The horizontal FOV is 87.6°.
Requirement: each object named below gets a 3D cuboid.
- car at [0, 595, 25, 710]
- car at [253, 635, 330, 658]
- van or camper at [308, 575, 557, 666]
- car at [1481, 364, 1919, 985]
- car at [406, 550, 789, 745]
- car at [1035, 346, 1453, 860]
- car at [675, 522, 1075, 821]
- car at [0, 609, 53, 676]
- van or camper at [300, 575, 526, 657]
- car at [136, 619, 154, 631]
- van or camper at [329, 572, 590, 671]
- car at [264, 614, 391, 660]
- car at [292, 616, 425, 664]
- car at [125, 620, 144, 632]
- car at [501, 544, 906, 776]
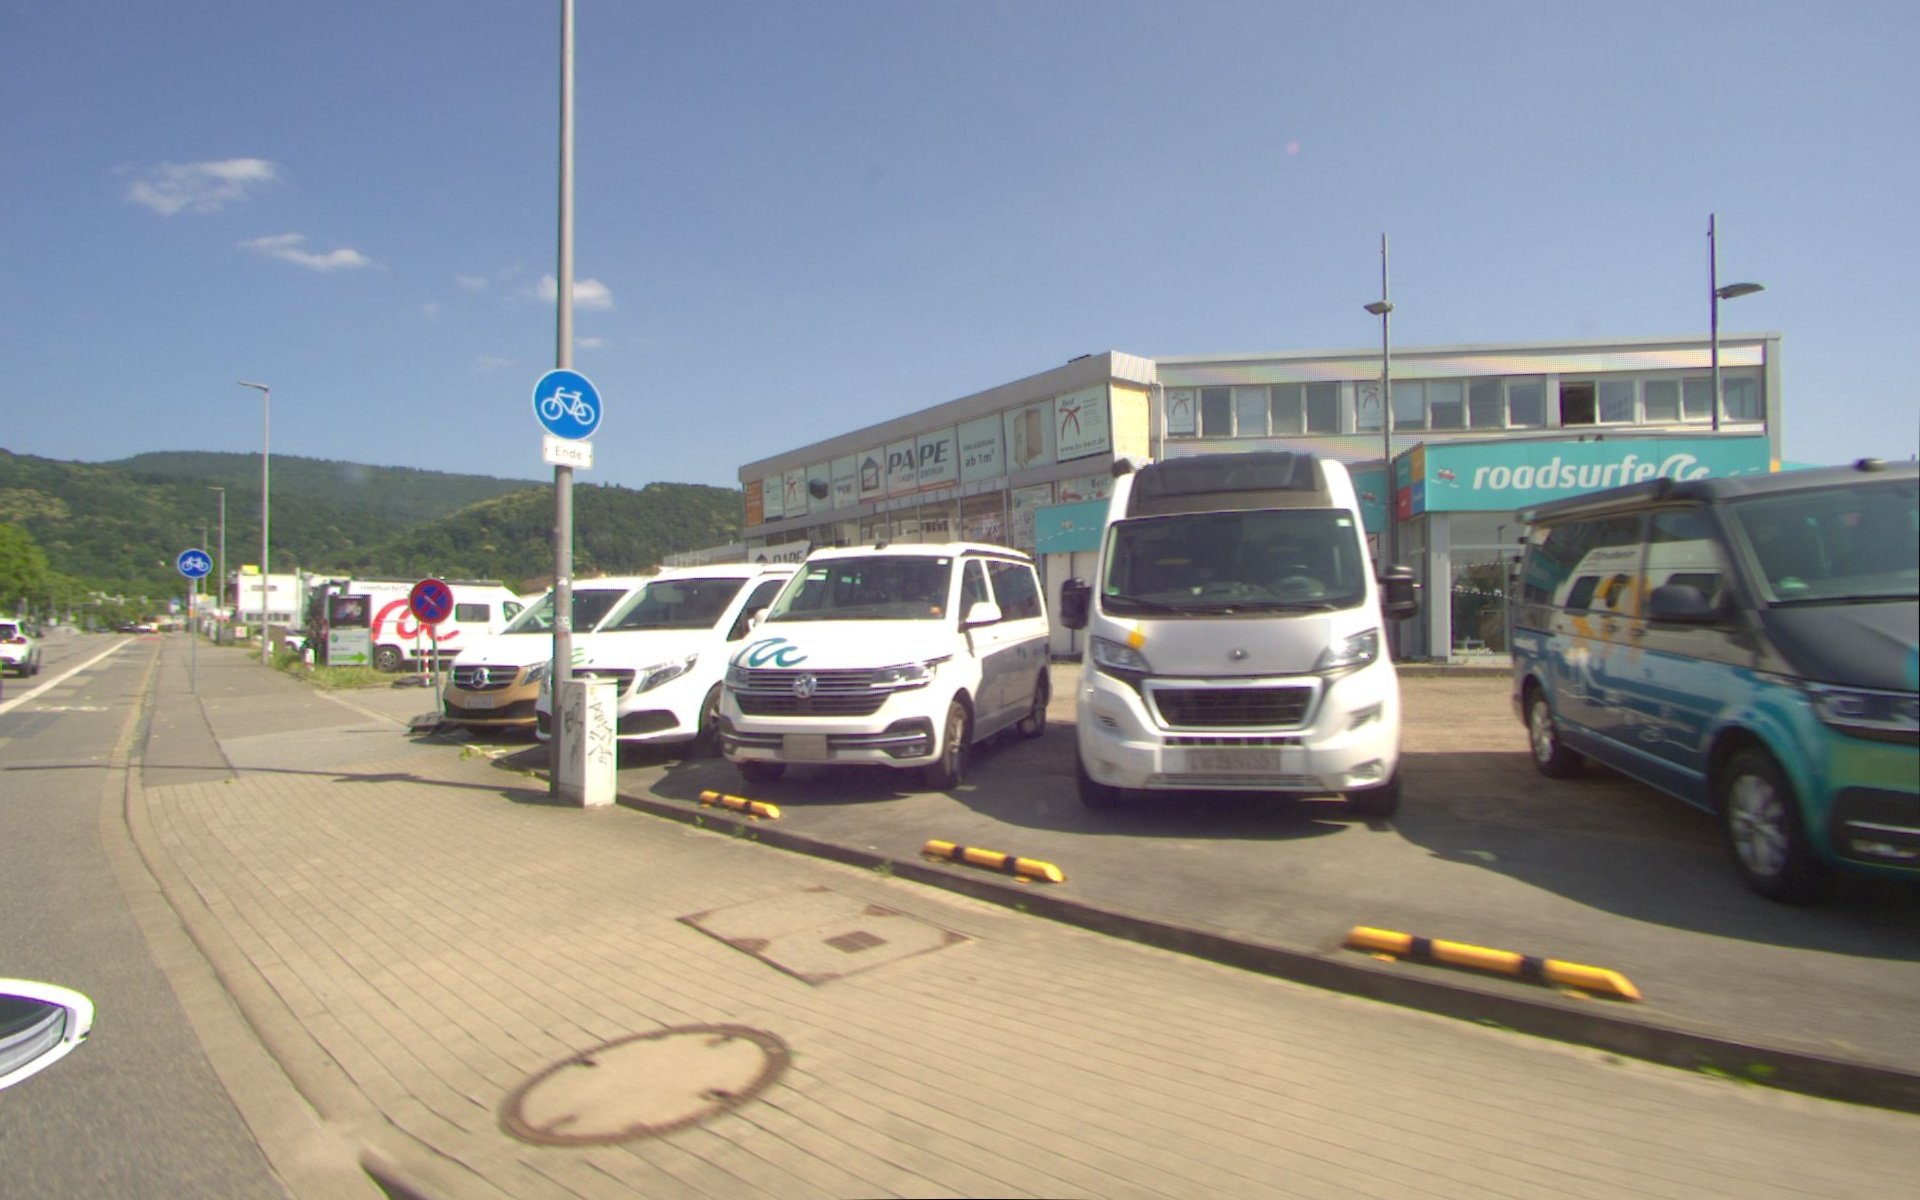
[{"bbox_3d":[-17.951,0.845,17.323,2.147,2.038,4.975,6,-4,-40],"label":"car"},{"bbox_3d":[-41.053,2.837,61.535,3.631,1.327,1.659,0,-1,2],"label":"car"},{"bbox_3d":[-16.815,0.704,32.051,6.549,2.594,3.724,2,-2,-37],"label":"van or camper"},{"bbox_3d":[4.867,0.197,5.751,2.058,2.141,5.221,-2,0,13],"label":"car"},{"bbox_3d":[-4.555,0.627,13.641,2.015,2.121,5.148,-2,-2,21],"label":"car"},{"bbox_3d":[2.345,0.080,8.640,2.264,2.752,6.151,0,-1,15],"label":"car"},{"bbox_3d":[-0.383,0.552,9.565,1.989,2.026,5.152,-1,-1,17],"label":"car"},{"bbox_3d":[-26.698,1.158,27.745,1.978,1.728,3.970,5,-5,-38],"label":"car"},{"bbox_3d":[-19.051,0.607,35.012,6.549,2.594,3.375,2,-2,-37],"label":"van or camper"},{"bbox_3d":[-118.331,3.660,145.489,1.978,1.705,3.968,1,-2,-39],"label":"car"},{"bbox_3d":[-14.621,0.675,29.443,6.448,2.594,2.952,2,-2,-38],"label":"van or camper"},{"bbox_3d":[-25.825,1.546,40.930,4.263,1.773,1.964,2,-3,-37],"label":"car"},{"bbox_3d":[-23.439,1.590,39.094,4.263,1.773,1.964,2,-3,-37],"label":"car"},{"bbox_3d":[-96.624,3.046,117.254,1.705,1.320,3.968,1,-1,-39],"label":"car"},{"bbox_3d":[-2.546,0.560,11.547,1.897,2.040,5.138,0,-1,21],"label":"car"}]
